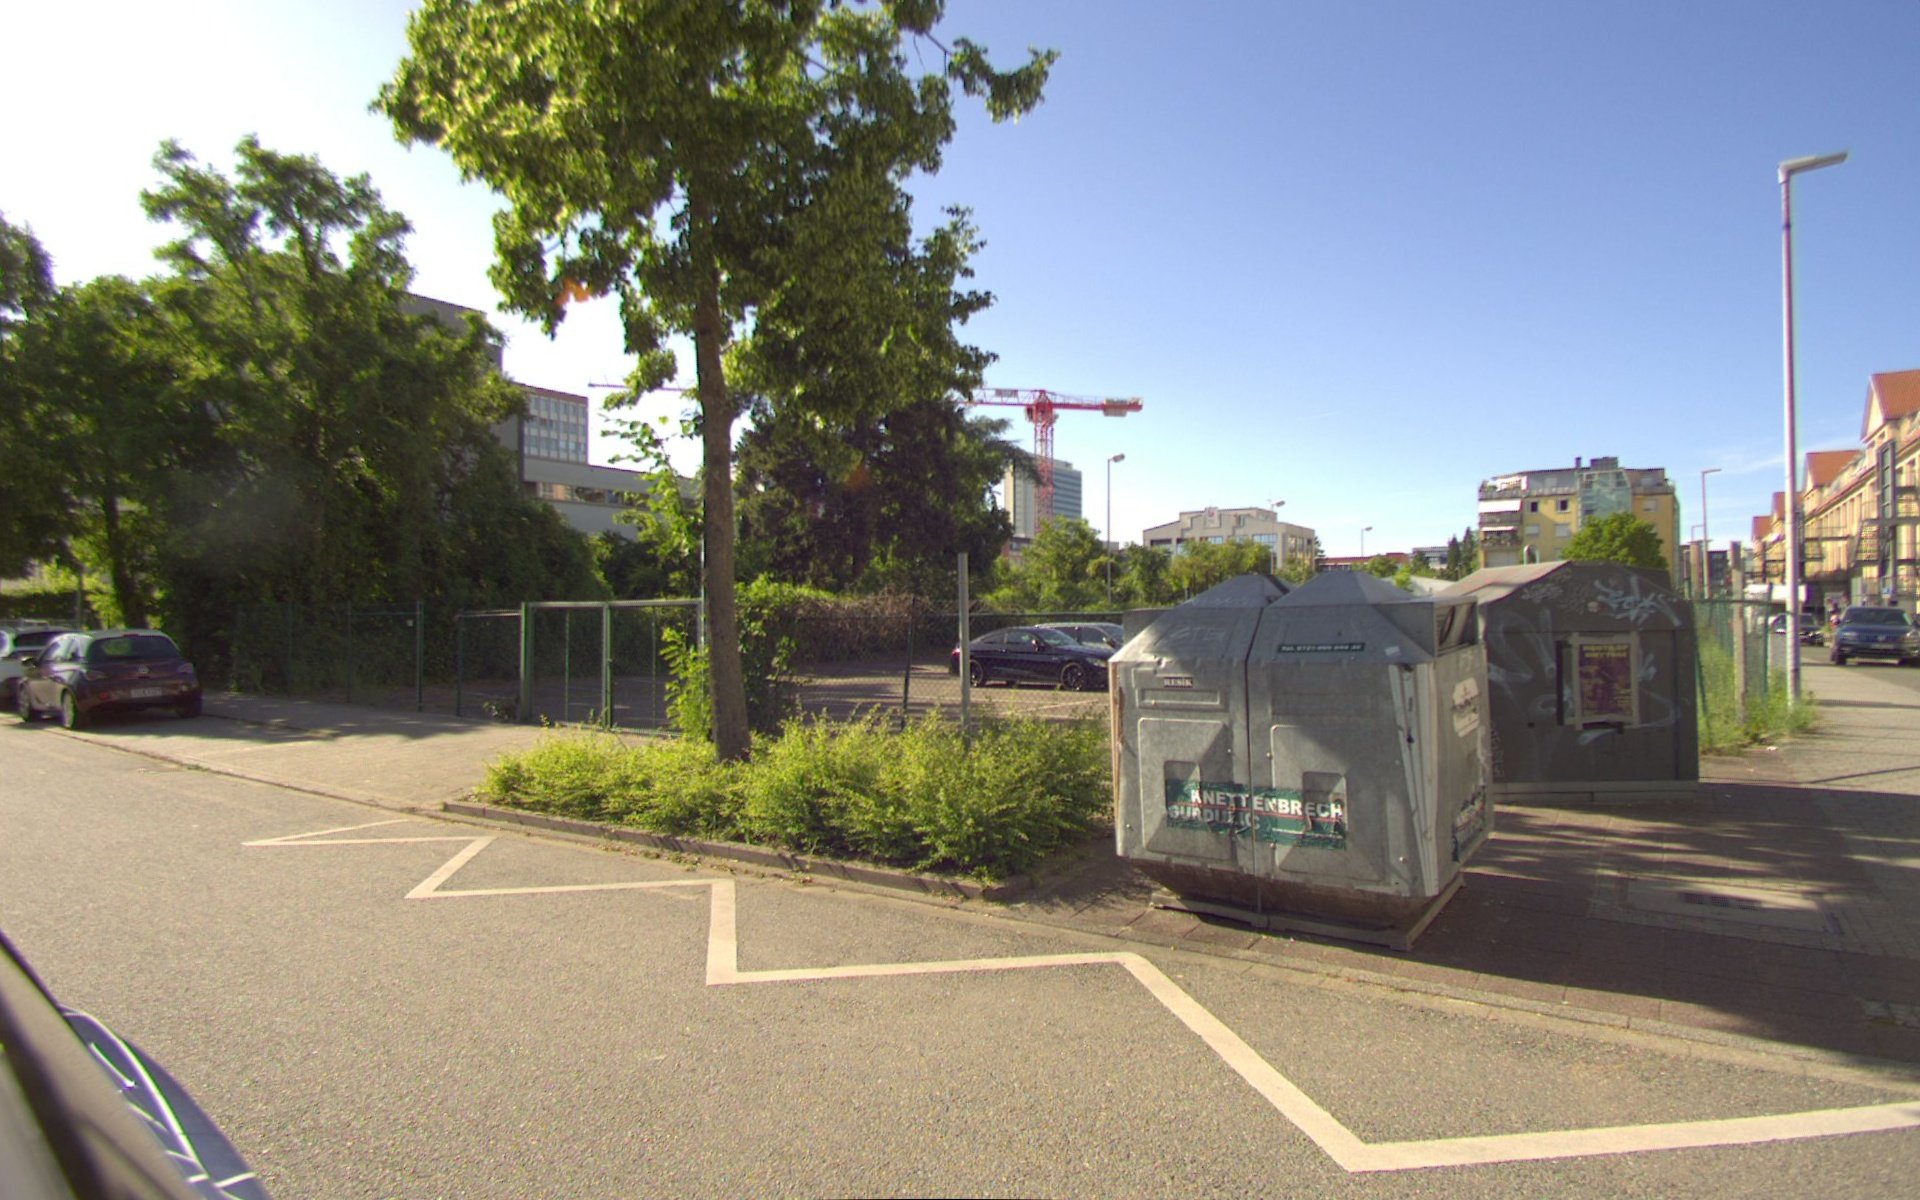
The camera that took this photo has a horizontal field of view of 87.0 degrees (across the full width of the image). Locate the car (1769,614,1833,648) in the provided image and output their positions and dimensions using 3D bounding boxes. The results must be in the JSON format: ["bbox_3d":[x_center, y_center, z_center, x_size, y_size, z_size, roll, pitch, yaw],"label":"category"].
[{"bbox_3d":[36.799,1.319,44.369,1.848,1.436,4.173,0,-1,36],"label":"car"}]

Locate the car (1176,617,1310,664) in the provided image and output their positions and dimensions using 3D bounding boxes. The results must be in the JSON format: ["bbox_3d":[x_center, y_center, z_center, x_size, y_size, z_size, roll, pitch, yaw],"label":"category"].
[{"bbox_3d":[10.092,1.431,36.193,4.234,1.572,1.875,-1,-1,36],"label":"car"}]

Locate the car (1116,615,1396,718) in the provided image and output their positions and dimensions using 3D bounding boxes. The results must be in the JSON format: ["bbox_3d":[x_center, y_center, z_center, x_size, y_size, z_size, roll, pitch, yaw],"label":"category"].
[{"bbox_3d":[5.241,1.101,18.201,4.421,1.622,1.974,-1,-1,39],"label":"car"}]

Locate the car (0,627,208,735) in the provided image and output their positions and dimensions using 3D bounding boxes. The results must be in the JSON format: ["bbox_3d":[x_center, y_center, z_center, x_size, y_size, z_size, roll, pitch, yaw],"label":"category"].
[{"bbox_3d":[-14.019,1.235,16.536,3.537,1.485,1.703,-1,1,34],"label":"car"}]

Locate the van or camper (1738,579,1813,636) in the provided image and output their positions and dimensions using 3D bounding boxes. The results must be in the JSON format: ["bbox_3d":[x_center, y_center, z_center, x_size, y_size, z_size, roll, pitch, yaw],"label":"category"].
[{"bbox_3d":[44.082,0.388,54.834,2.718,2.878,5.074,0,0,34],"label":"van or camper"}]

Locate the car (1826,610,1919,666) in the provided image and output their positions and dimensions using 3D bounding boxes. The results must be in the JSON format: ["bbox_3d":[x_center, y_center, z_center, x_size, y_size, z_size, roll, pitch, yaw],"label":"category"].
[{"bbox_3d":[25.458,1.024,28.045,1.848,1.436,4.173,-2,-2,36],"label":"car"}]

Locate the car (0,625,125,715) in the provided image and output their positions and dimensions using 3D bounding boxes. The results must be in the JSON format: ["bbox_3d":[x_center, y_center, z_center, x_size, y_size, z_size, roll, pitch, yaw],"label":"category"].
[{"bbox_3d":[-18.093,1.286,19.730,3.994,1.485,1.824,-1,1,36],"label":"car"}]

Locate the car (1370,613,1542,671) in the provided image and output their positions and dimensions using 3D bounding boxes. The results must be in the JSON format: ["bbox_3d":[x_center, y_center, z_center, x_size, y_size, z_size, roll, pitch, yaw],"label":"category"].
[{"bbox_3d":[14.480,1.198,29.642,4.238,1.572,1.873,-1,-1,39],"label":"car"}]

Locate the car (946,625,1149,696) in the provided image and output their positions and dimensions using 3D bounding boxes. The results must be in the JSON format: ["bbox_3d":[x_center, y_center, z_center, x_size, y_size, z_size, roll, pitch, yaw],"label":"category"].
[{"bbox_3d":[1.963,1.331,23.485,4.369,1.467,1.947,-1,-1,39],"label":"car"}]
